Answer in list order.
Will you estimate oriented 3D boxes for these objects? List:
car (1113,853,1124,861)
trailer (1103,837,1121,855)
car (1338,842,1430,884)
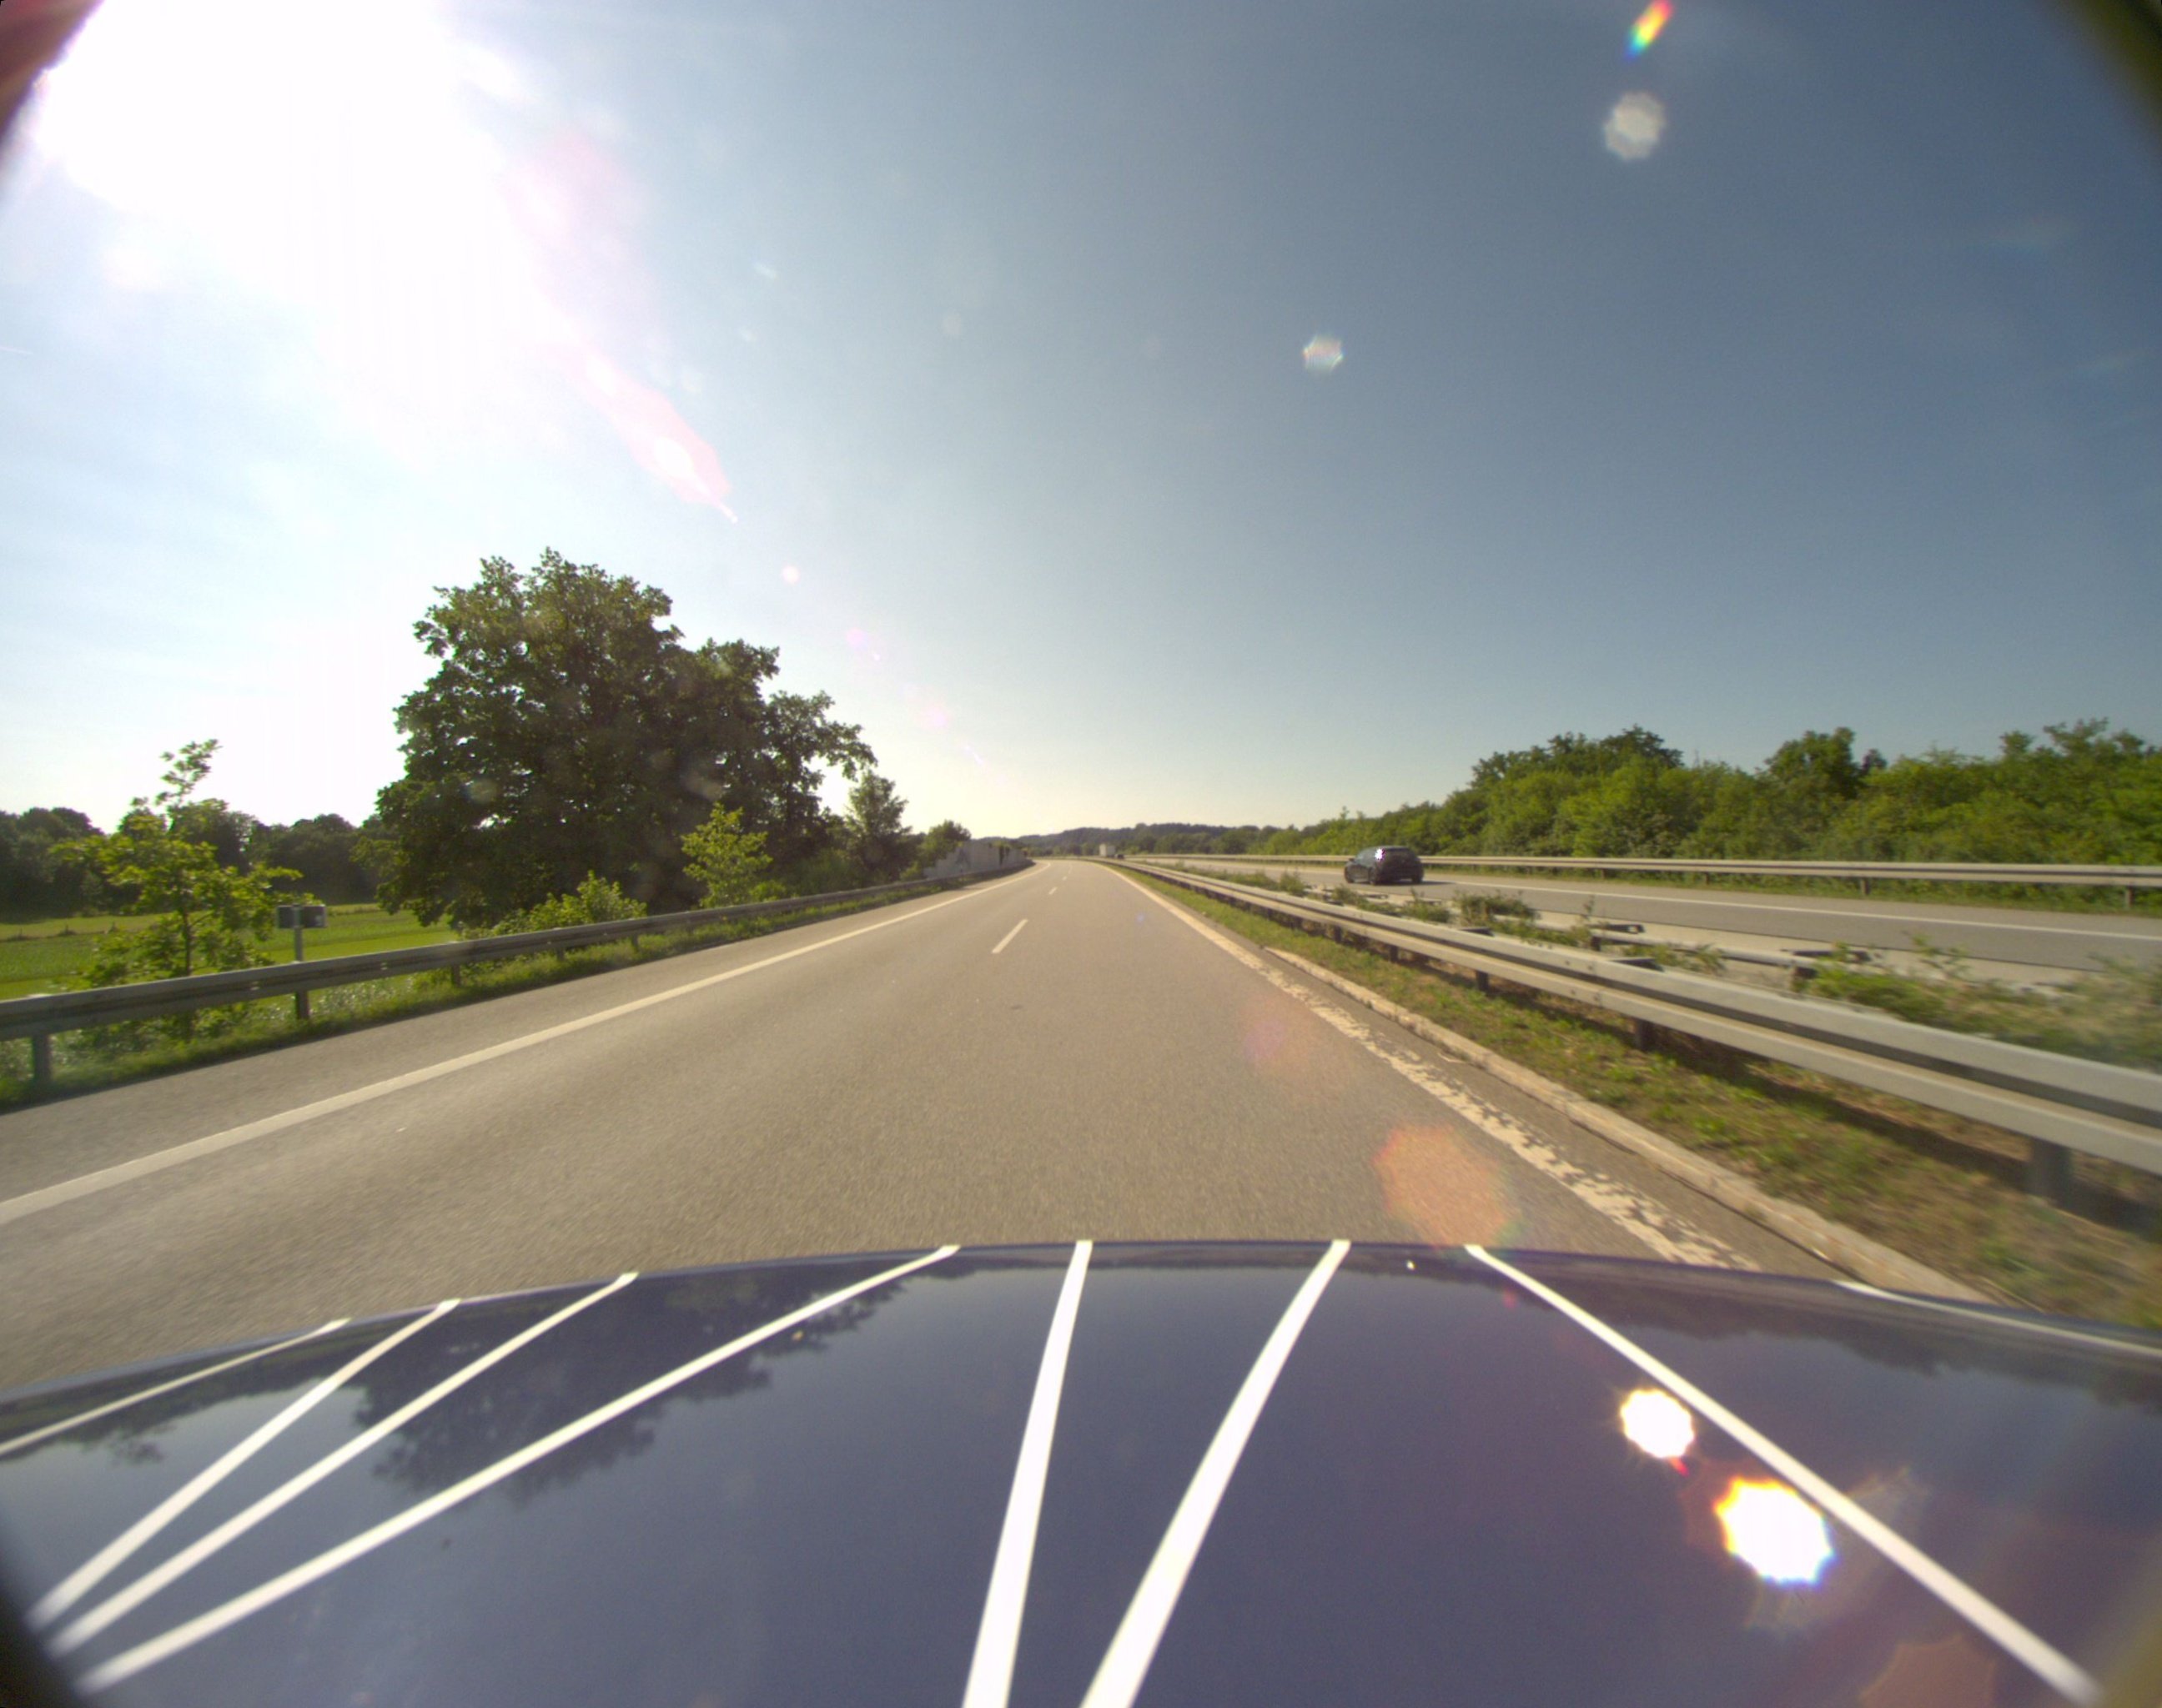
[{"bbox_3d":[8.226,0.676,166.843,1.965,1.591,4.866,-3,0,-2],"label":"car"},{"bbox_3d":[8.363,-2.077,208.520,3.104,4.428,13.742,-4,0,-4],"label":"trailer"},{"bbox_3d":[11.510,0.317,29.232,1.743,1.436,4.768,-2,0,2],"label":"car"}]
